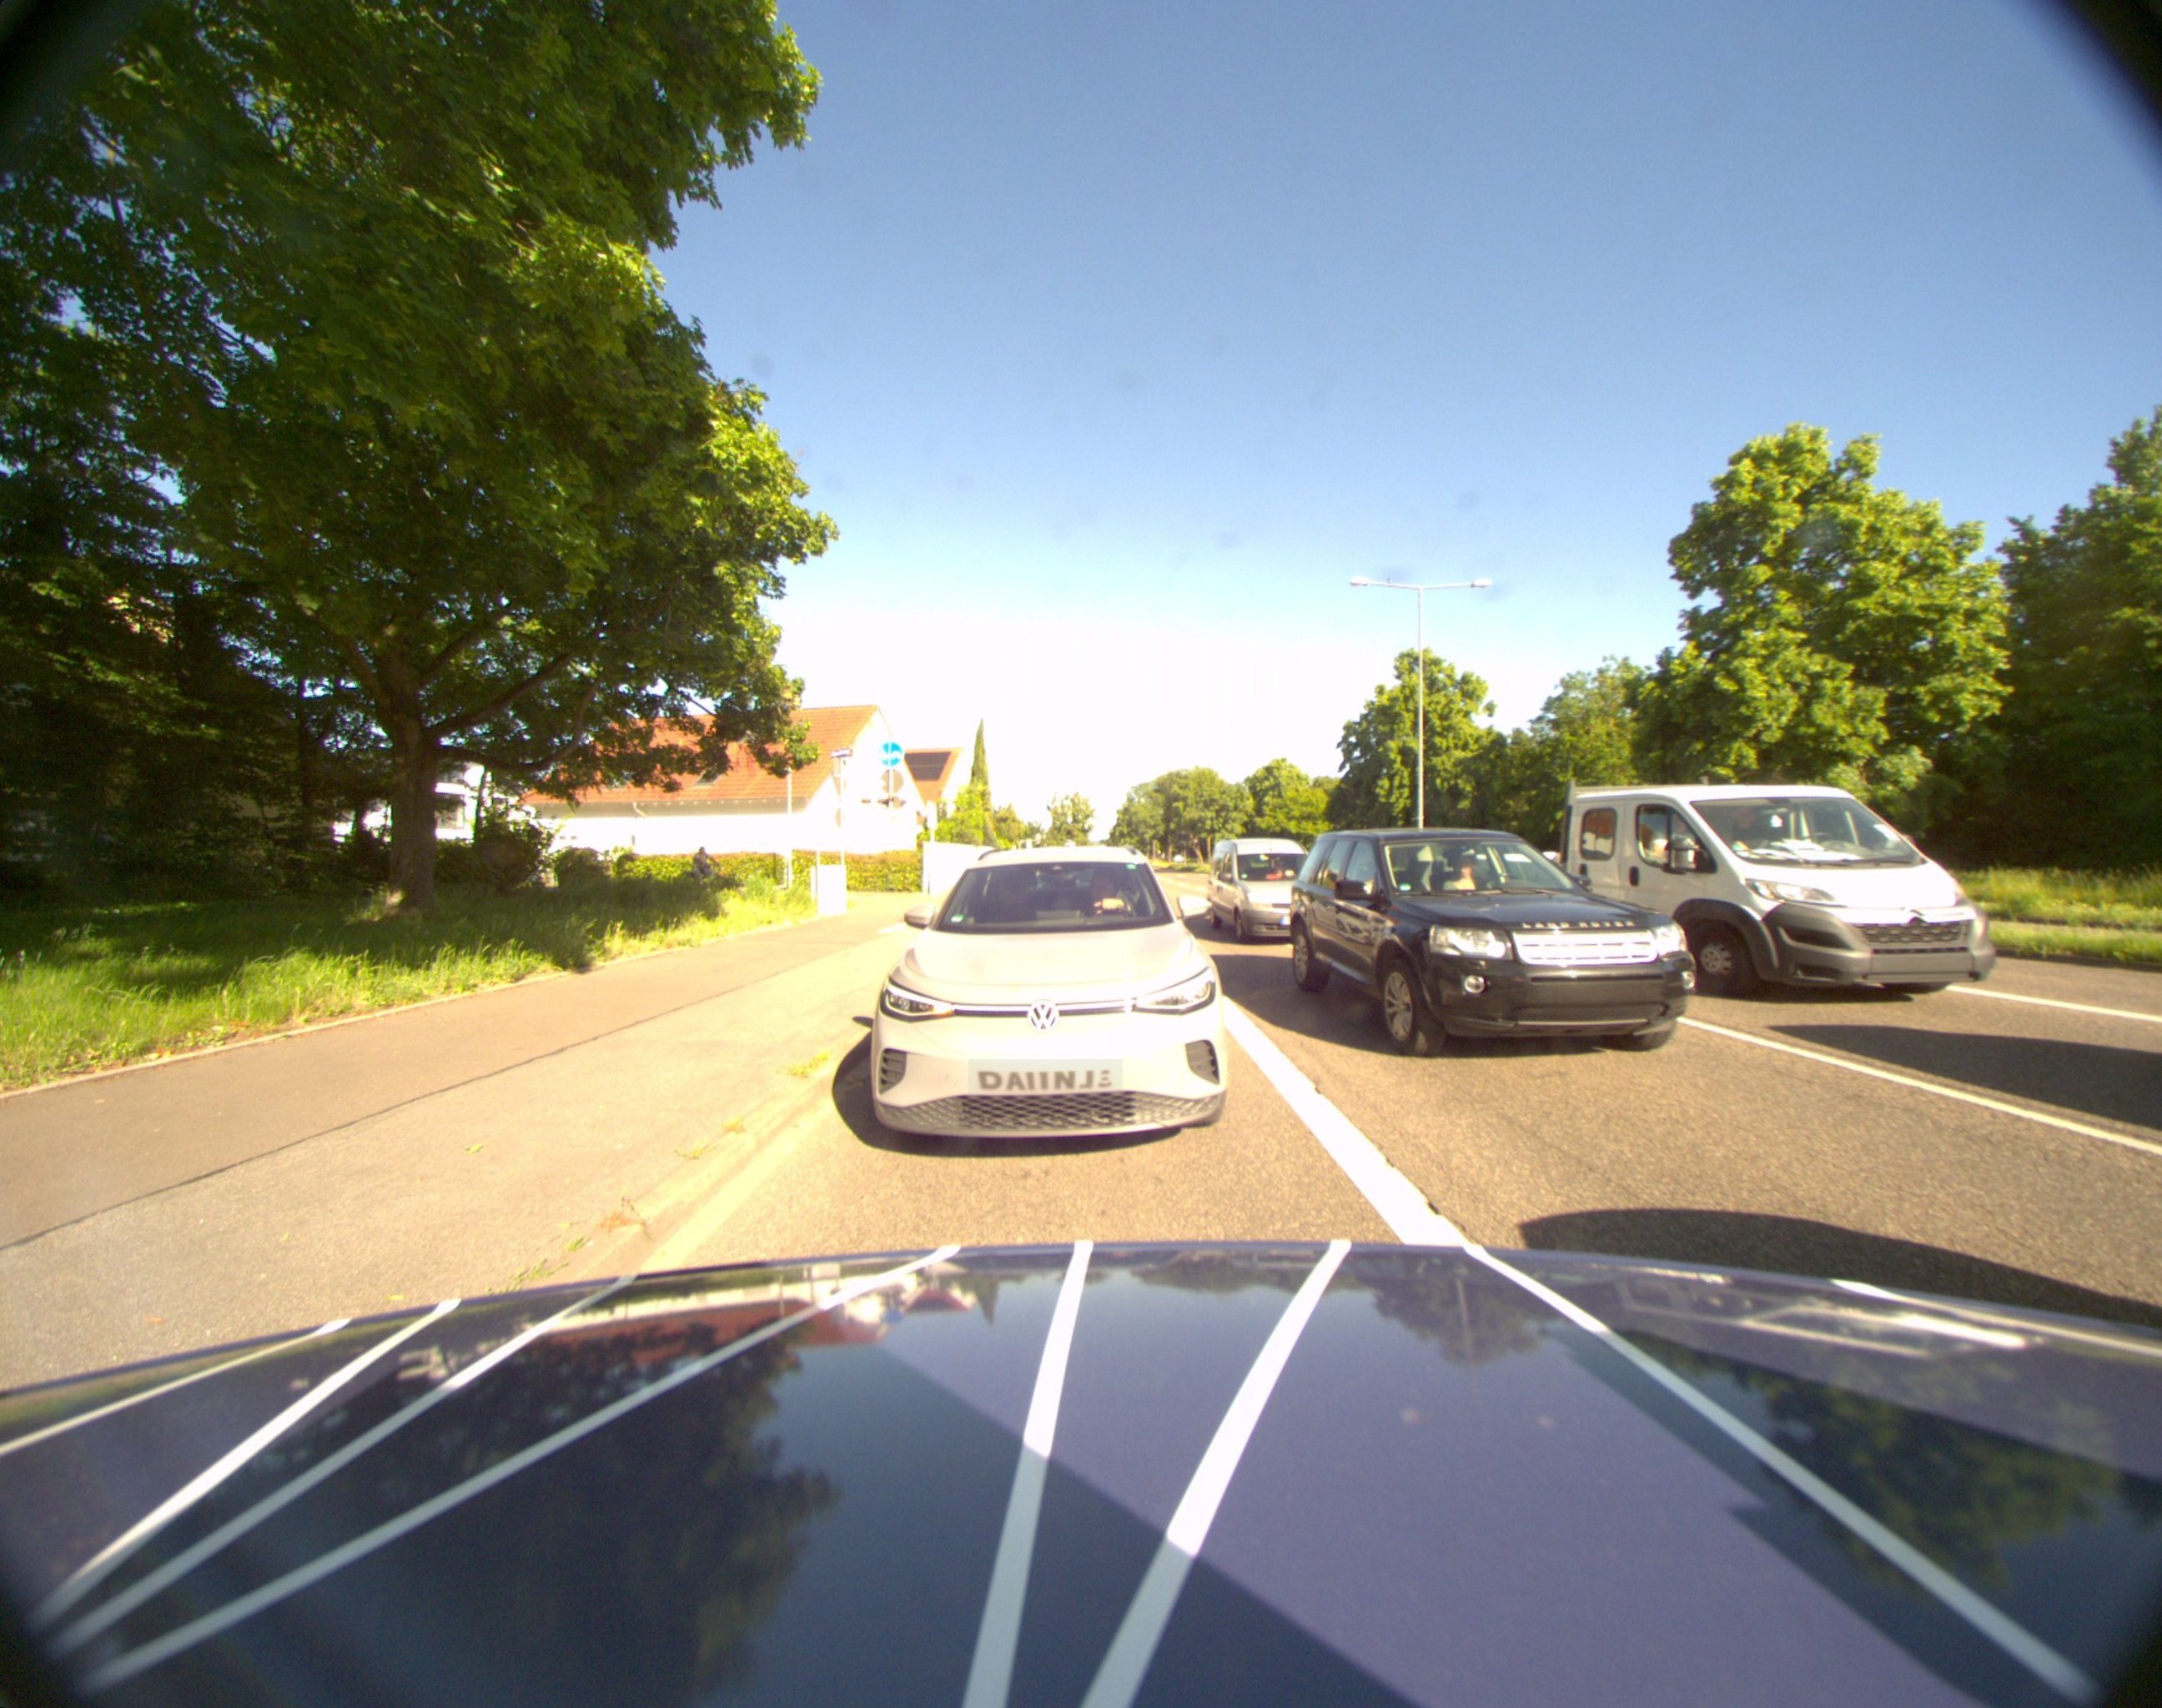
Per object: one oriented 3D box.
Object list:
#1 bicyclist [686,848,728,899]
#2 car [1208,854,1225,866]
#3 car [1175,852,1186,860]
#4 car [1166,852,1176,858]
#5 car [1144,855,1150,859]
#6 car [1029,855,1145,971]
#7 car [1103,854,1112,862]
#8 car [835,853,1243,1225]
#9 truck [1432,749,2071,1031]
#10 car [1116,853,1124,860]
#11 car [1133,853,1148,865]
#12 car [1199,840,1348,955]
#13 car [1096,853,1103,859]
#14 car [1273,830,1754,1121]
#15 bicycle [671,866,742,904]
[{"bbox_3d":[-11.906,0.617,24.191,0.996,1.572,0.581,2,0,6],"label":"bicyclist"},{"bbox_3d":[20.081,0.897,113.059,1.878,1.674,4.000,0,0,1],"label":"car"},{"bbox_3d":[20.625,0.370,158.297,1.792,1.674,4.000,0,0,1],"label":"car"},{"bbox_3d":[20.970,0.216,176.975,1.792,1.409,4.000,0,0,1],"label":"car"},{"bbox_3d":[22.504,1.024,260.247,1.792,1.409,4.000,0,0,1],"label":"car"},{"bbox_3d":[0.112,0.864,13.027,1.632,1.586,4.024,-2,1,1],"label":"car"},{"bbox_3d":[4.717,0.711,135.285,1.630,1.466,3.931,0,0,0],"label":"car"},{"bbox_3d":[-0.167,0.846,5.583,1.858,1.679,4.206,0,1,1],"label":"car"},{"bbox_3d":[7.216,0.267,9.795,2.185,2.307,6.842,-2,1,0],"label":"truck"},{"bbox_3d":[8.758,0.514,170.387,1.727,1.436,4.000,0,0,-1],"label":"car"},{"bbox_3d":[7.617,0.586,97.499,1.704,1.466,3.931,-1,0,0],"label":"car"},{"bbox_3d":[3.328,0.651,13.973,1.632,1.741,4.386,-2,1,1],"label":"car"},{"bbox_3d":[4.777,0.575,194.511,1.726,1.630,4.000,0,0,1],"label":"car"},{"bbox_3d":[3.169,0.713,6.779,1.816,1.721,4.386,-2,1,1],"label":"car"},{"bbox_3d":[-11.923,0.972,24.184,1.985,1.091,0.581,2,0,6],"label":"bicycle"}]
